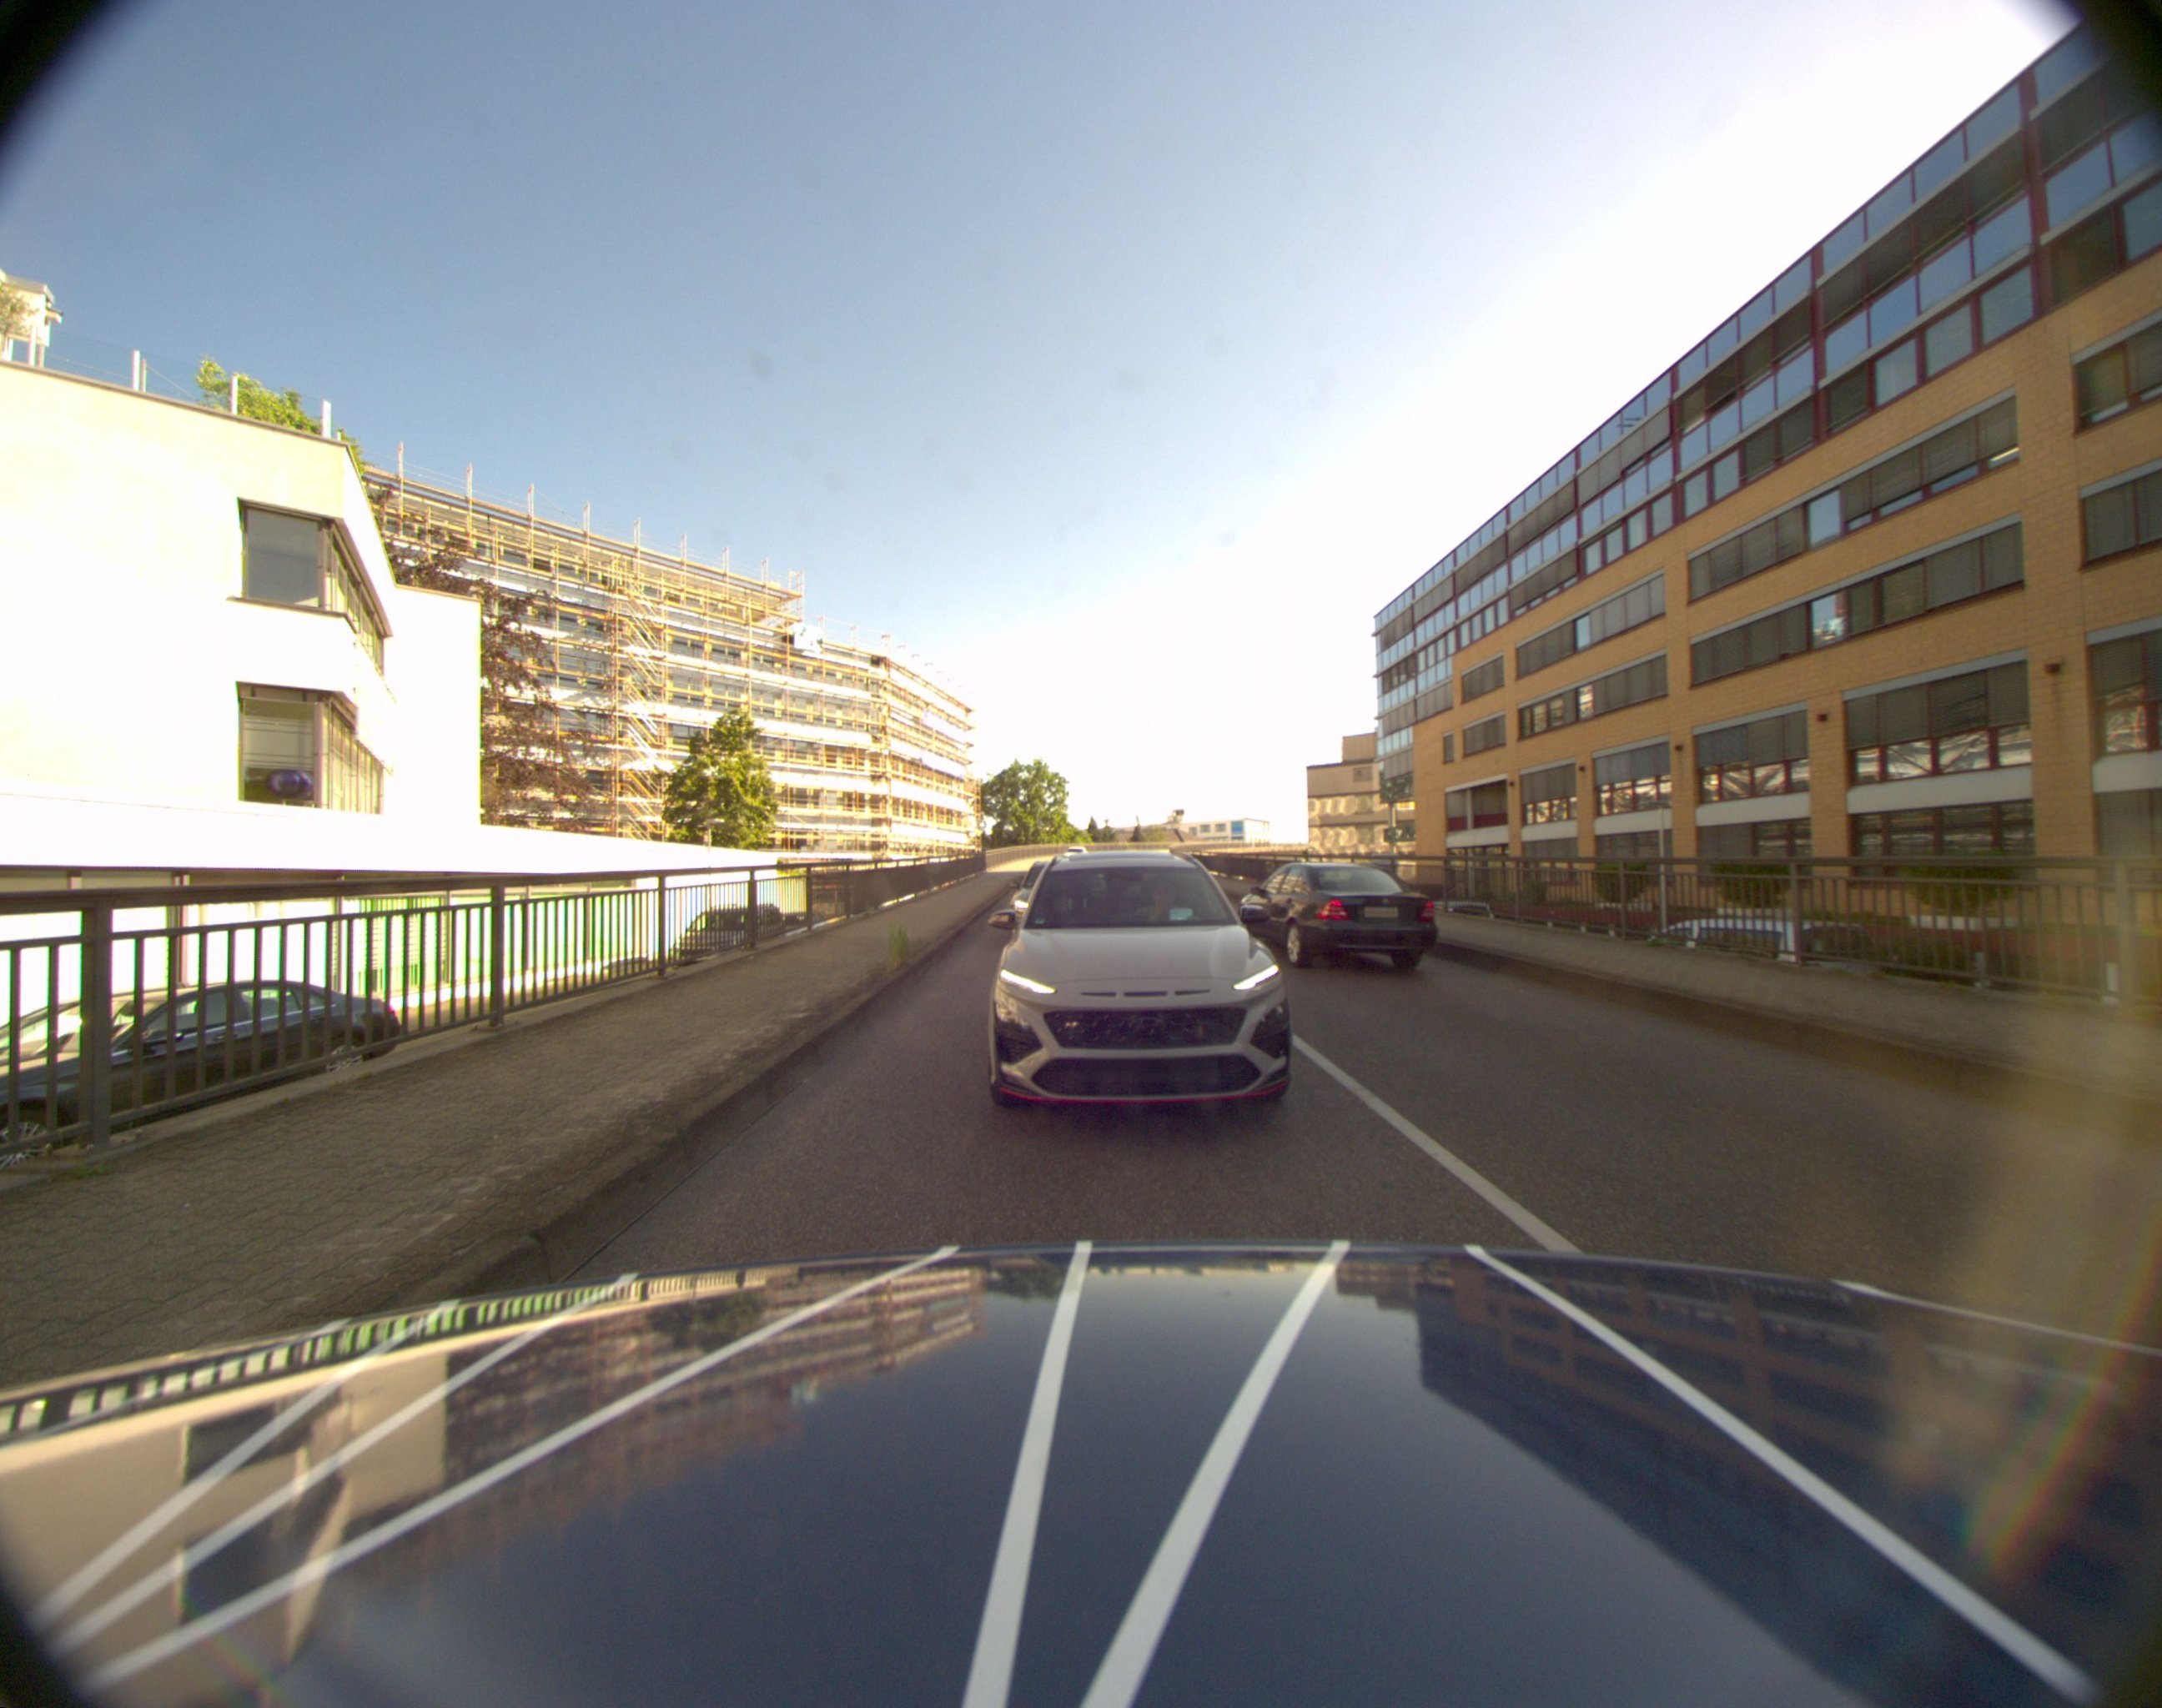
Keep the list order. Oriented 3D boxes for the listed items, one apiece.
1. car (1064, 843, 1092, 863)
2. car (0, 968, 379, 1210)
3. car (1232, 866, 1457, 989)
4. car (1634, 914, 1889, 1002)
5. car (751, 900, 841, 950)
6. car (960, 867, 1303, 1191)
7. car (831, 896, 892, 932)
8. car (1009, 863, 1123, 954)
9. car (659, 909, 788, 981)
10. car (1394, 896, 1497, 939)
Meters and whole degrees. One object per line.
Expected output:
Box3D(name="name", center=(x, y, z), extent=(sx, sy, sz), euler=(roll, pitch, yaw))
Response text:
Box3D(name="car", center=(-0.212, -0.125, 63.677), extent=(1.951, 1.456, 4.000), euler=(3, 3, 6))
Box3D(name="car", center=(-9.602, 2.169, 7.414), extent=(1.726, 1.513, 4.001), euler=(-2, -1, 1))
Box3D(name="car", center=(3.613, 0.919, 11.295), extent=(1.746, 1.399, 4.200), euler=(0, 0, -2))
Box3D(name="car", center=(13.043, 1.938, 14.920), extent=(1.580, 1.261, 3.809), euler=(0, -1, -1))
Box3D(name="car", center=(-10.096, 2.480, 27.213), extent=(1.726, 1.383, 4.000), euler=(-2, -1, -1))
Box3D(name="car", center=(0.283, 0.927, 5.890), extent=(1.749, 1.637, 4.001), euler=(0, -1, 1))
Box3D(name="car", center=(-10.219, 2.775, 35.673), extent=(1.726, 1.383, 4.000), euler=(-2, -1, -1))
Box3D(name="car", center=(-0.292, 0.934, 14.737), extent=(1.902, 1.433, 4.126), euler=(0, 0, -1))
Box3D(name="car", center=(-9.914, 2.473, 21.425), extent=(1.726, 1.513, 4.000), euler=(-2, -1, -1))
Box3D(name="car", center=(12.735, 2.194, 26.827), extent=(1.766, 1.261, 3.809), euler=(0, -1, -1))
